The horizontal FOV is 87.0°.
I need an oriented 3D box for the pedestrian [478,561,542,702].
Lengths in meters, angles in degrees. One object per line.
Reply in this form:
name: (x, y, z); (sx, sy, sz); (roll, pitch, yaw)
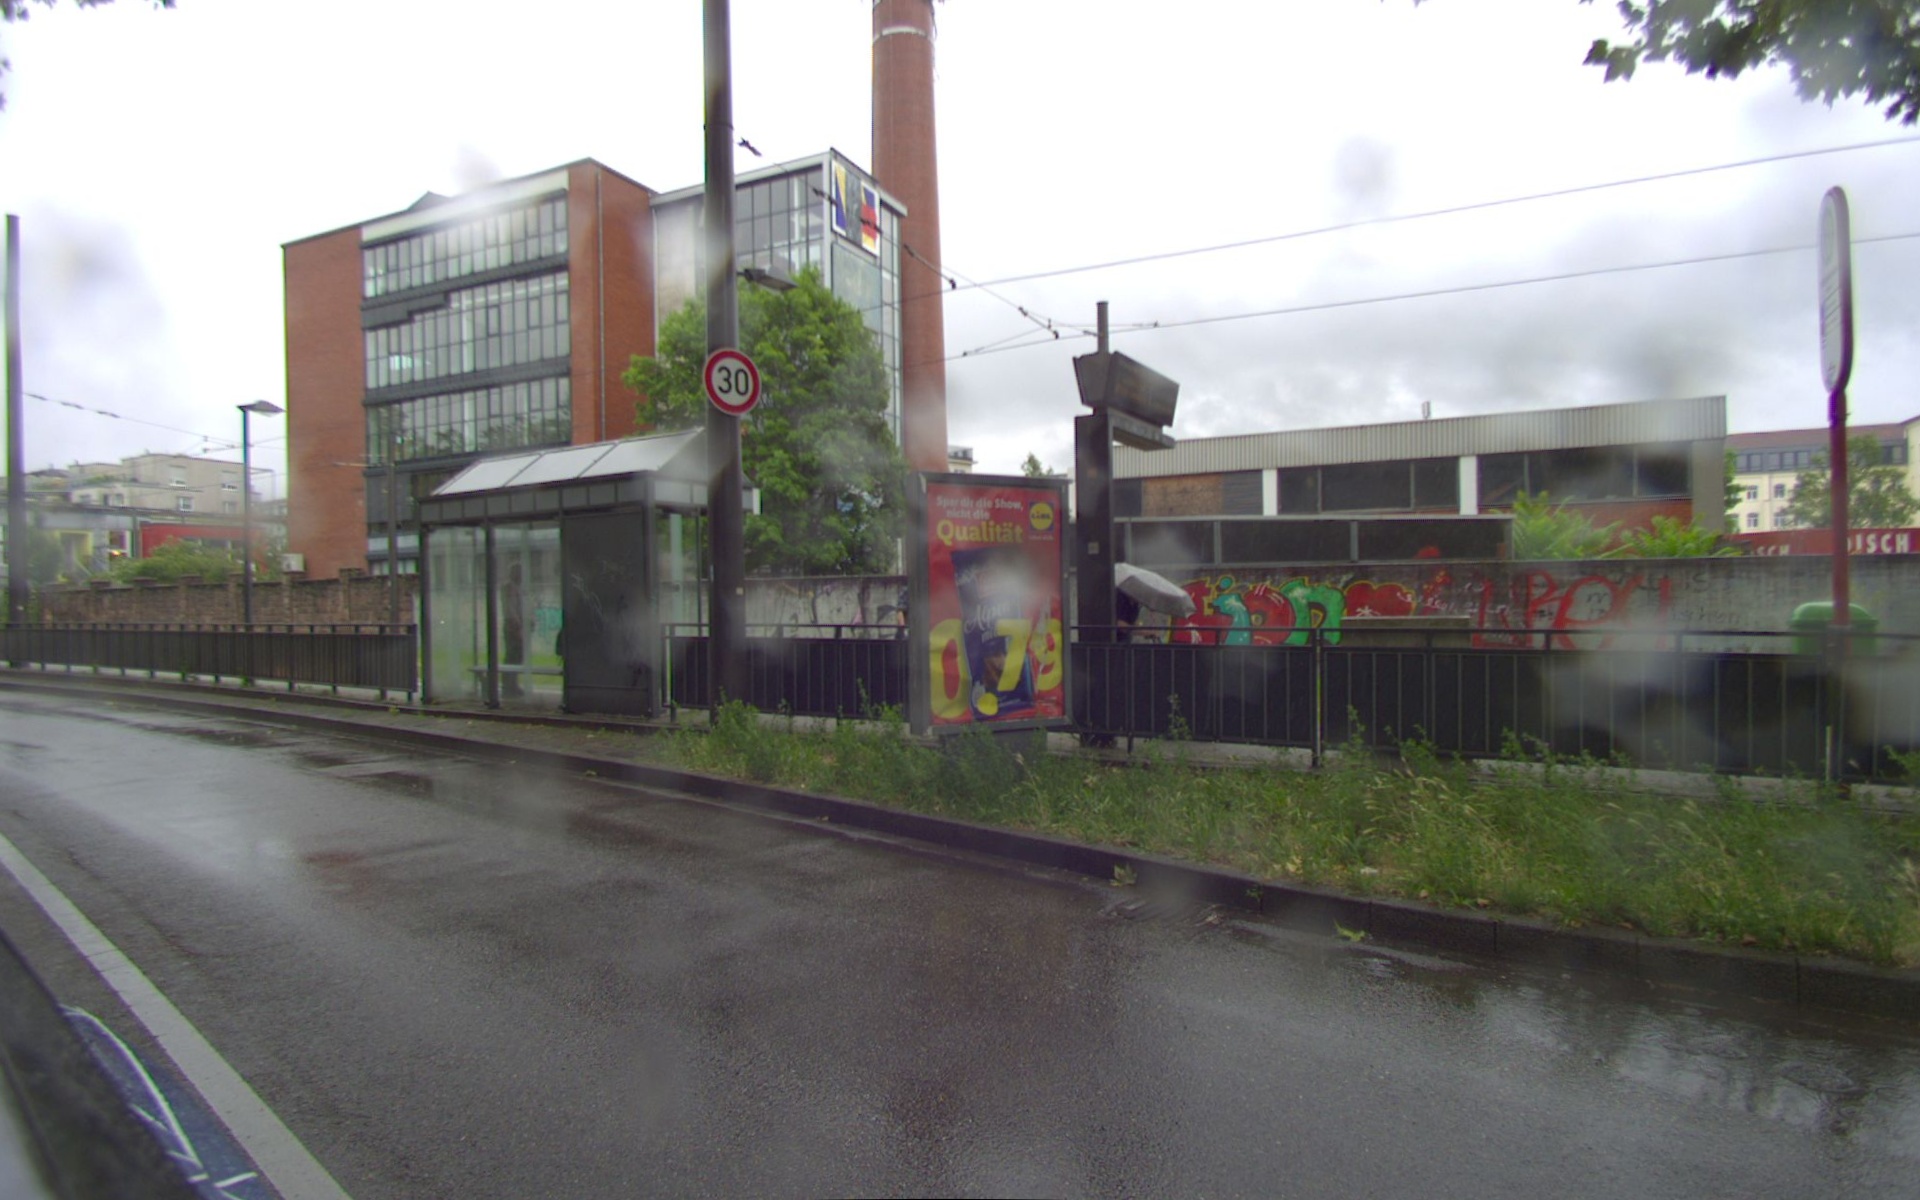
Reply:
pedestrian: (-5.838, 0.394, 13.119); (0.620, 1.762, 0.515); (-1, 0, -41)

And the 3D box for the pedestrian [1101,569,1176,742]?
pedestrian: (1.556, 0.461, 8.799); (0.492, 1.438, 0.606); (-1, 0, 25)

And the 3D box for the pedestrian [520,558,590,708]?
pedestrian: (-4.913, 0.382, 12.274); (0.620, 1.762, 0.565); (-1, 0, -41)

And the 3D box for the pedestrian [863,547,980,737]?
pedestrian: (-0.381, 0.406, 10.220); (0.841, 1.818, 0.819); (-1, 0, 30)
